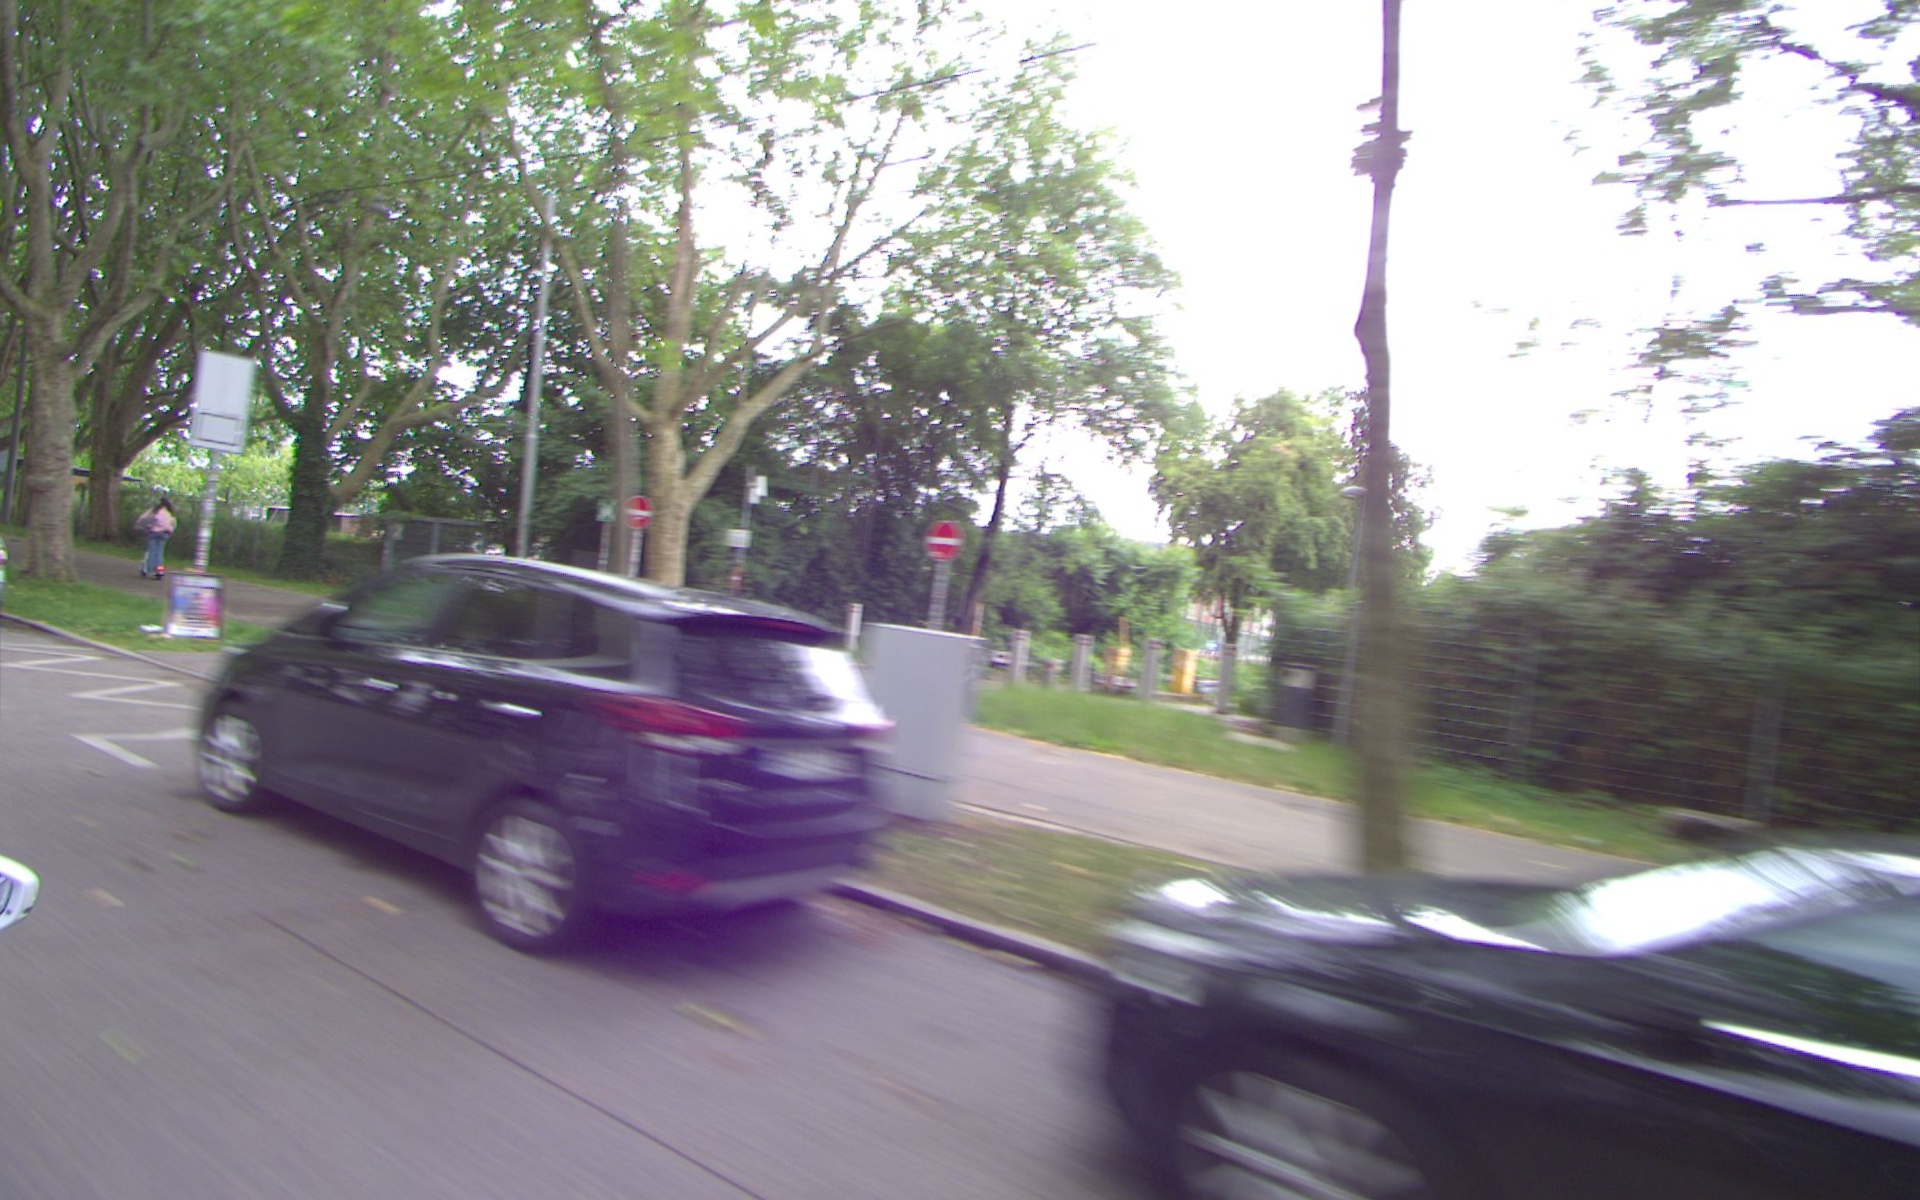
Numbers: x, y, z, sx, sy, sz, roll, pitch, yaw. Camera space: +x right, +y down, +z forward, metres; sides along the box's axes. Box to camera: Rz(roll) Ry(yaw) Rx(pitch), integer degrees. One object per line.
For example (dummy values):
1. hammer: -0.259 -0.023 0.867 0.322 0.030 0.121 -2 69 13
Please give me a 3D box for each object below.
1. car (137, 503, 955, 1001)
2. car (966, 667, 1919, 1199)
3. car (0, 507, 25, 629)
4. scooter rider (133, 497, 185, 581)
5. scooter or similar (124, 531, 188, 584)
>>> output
1. car: -2.456 0.556 5.631 4.393 1.620 1.834 7 -3 31
2. car: 2.341 1.230 2.615 4.217 1.434 1.780 7 -3 33
3. car: -13.708 -0.659 12.840 3.882 1.478 1.622 7 -3 34
4. scooter rider: -18.215 -1.381 22.875 0.578 1.823 0.676 7 2 32
5. scooter or similar: -18.333 -0.969 22.936 1.443 1.052 0.680 7 2 33
